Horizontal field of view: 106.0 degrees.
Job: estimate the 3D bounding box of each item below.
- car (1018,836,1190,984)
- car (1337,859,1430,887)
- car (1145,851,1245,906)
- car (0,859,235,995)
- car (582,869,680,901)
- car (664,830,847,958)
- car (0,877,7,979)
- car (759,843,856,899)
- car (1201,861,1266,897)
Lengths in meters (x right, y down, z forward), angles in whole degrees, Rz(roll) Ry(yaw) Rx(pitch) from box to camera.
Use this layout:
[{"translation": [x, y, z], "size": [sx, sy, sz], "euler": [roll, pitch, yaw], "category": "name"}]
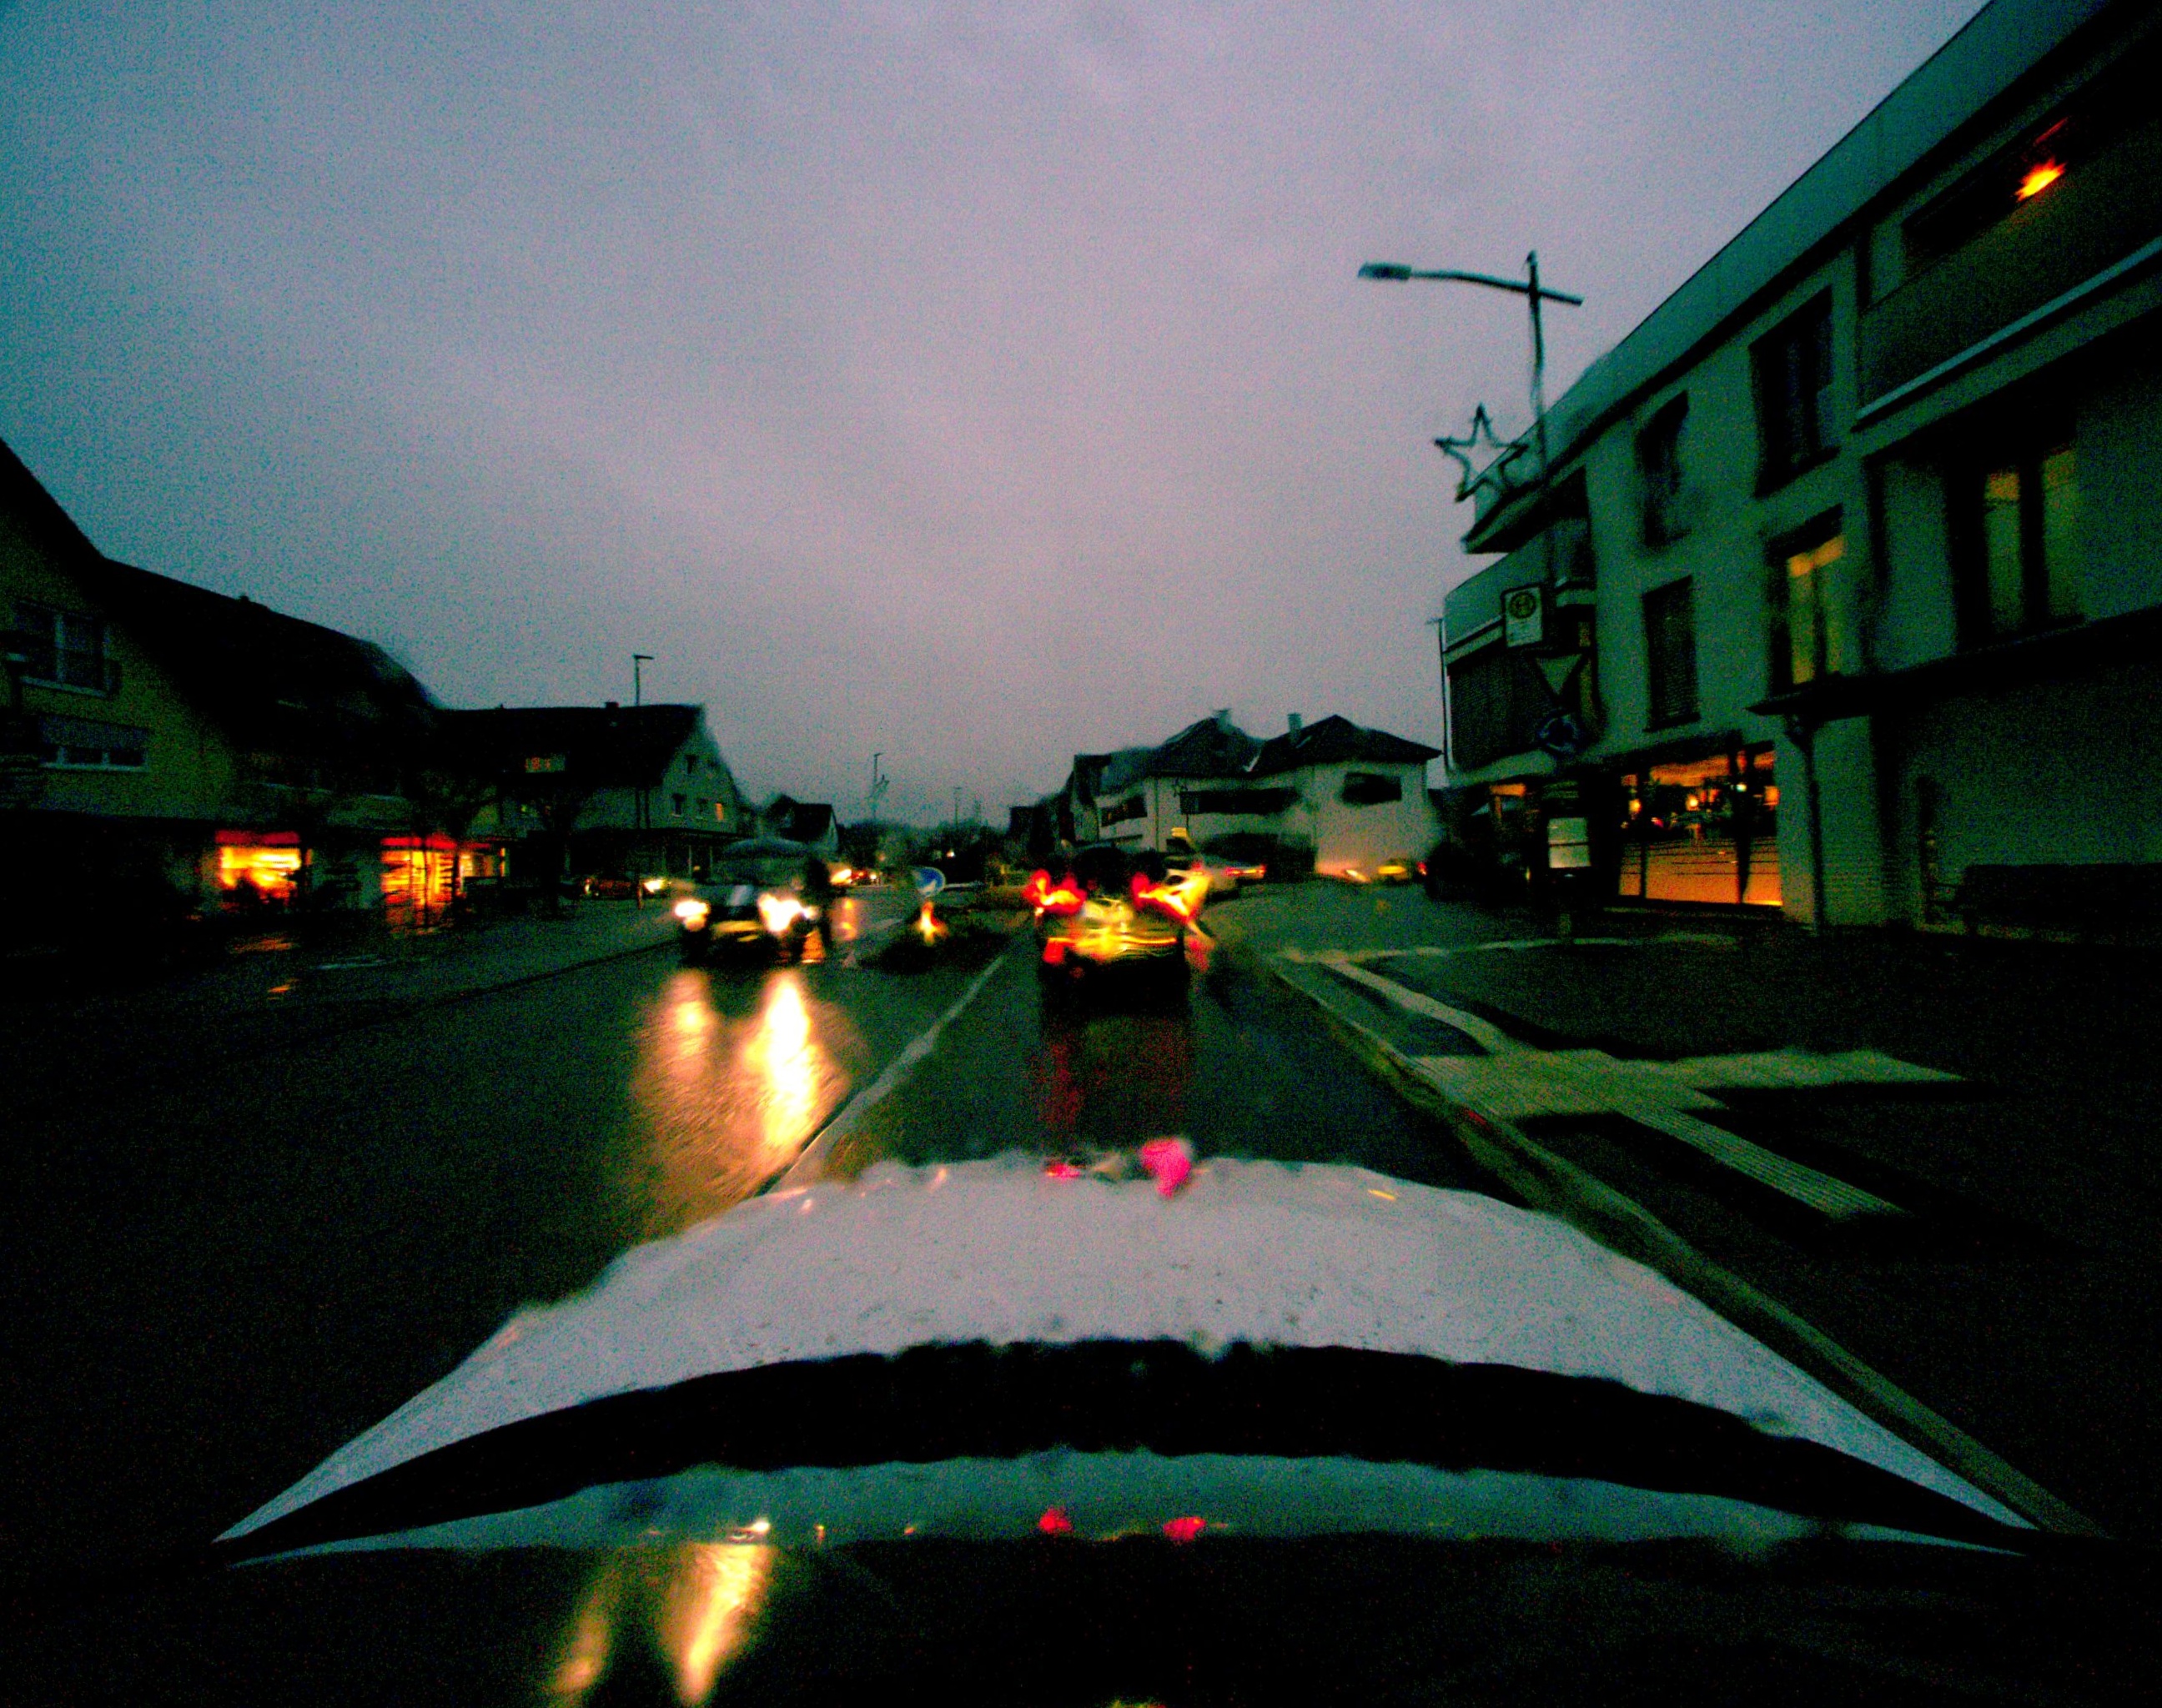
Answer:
[{"translation": [0.211, 0.622, 11.063], "size": [1.910, 1.615, 3.948], "euler": [-1, 0, -2], "category": "car"}, {"translation": [15.894, 0.999, 42.886], "size": [4.211, 1.384, 1.848], "euler": [-1, -3, -3], "category": "car"}, {"translation": [3.593, 0.700, 25.123], "size": [1.761, 1.539, 3.956], "euler": [-1, 0, 28], "category": "car"}, {"translation": [-13.438, 0.899, 11.194], "size": [1.923, 1.531, 4.132], "euler": [-1, -1, -38], "category": "car"}, {"translation": [-21.478, 1.482, 38.922], "size": [3.805, 1.422, 1.719], "euler": [-2, -3, 8], "category": "car"}, {"translation": [-5.197, 0.544, 13.615], "size": [1.716, 1.812, 4.129], "euler": [0, 0, -5], "category": "car"}, {"translation": [-15.827, 1.027, 10.069], "size": [1.848, 1.670, 3.855], "euler": [-4, 1, -34], "category": "car"}, {"translation": [-10.744, 0.633, 31.798], "size": [2.010, 2.014, 4.843], "euler": [0, -1, -39], "category": "car"}, {"translation": [7.843, 1.227, 42.234], "size": [1.824, 1.628, 3.982], "euler": [-4, 1, -13], "category": "car"}]
